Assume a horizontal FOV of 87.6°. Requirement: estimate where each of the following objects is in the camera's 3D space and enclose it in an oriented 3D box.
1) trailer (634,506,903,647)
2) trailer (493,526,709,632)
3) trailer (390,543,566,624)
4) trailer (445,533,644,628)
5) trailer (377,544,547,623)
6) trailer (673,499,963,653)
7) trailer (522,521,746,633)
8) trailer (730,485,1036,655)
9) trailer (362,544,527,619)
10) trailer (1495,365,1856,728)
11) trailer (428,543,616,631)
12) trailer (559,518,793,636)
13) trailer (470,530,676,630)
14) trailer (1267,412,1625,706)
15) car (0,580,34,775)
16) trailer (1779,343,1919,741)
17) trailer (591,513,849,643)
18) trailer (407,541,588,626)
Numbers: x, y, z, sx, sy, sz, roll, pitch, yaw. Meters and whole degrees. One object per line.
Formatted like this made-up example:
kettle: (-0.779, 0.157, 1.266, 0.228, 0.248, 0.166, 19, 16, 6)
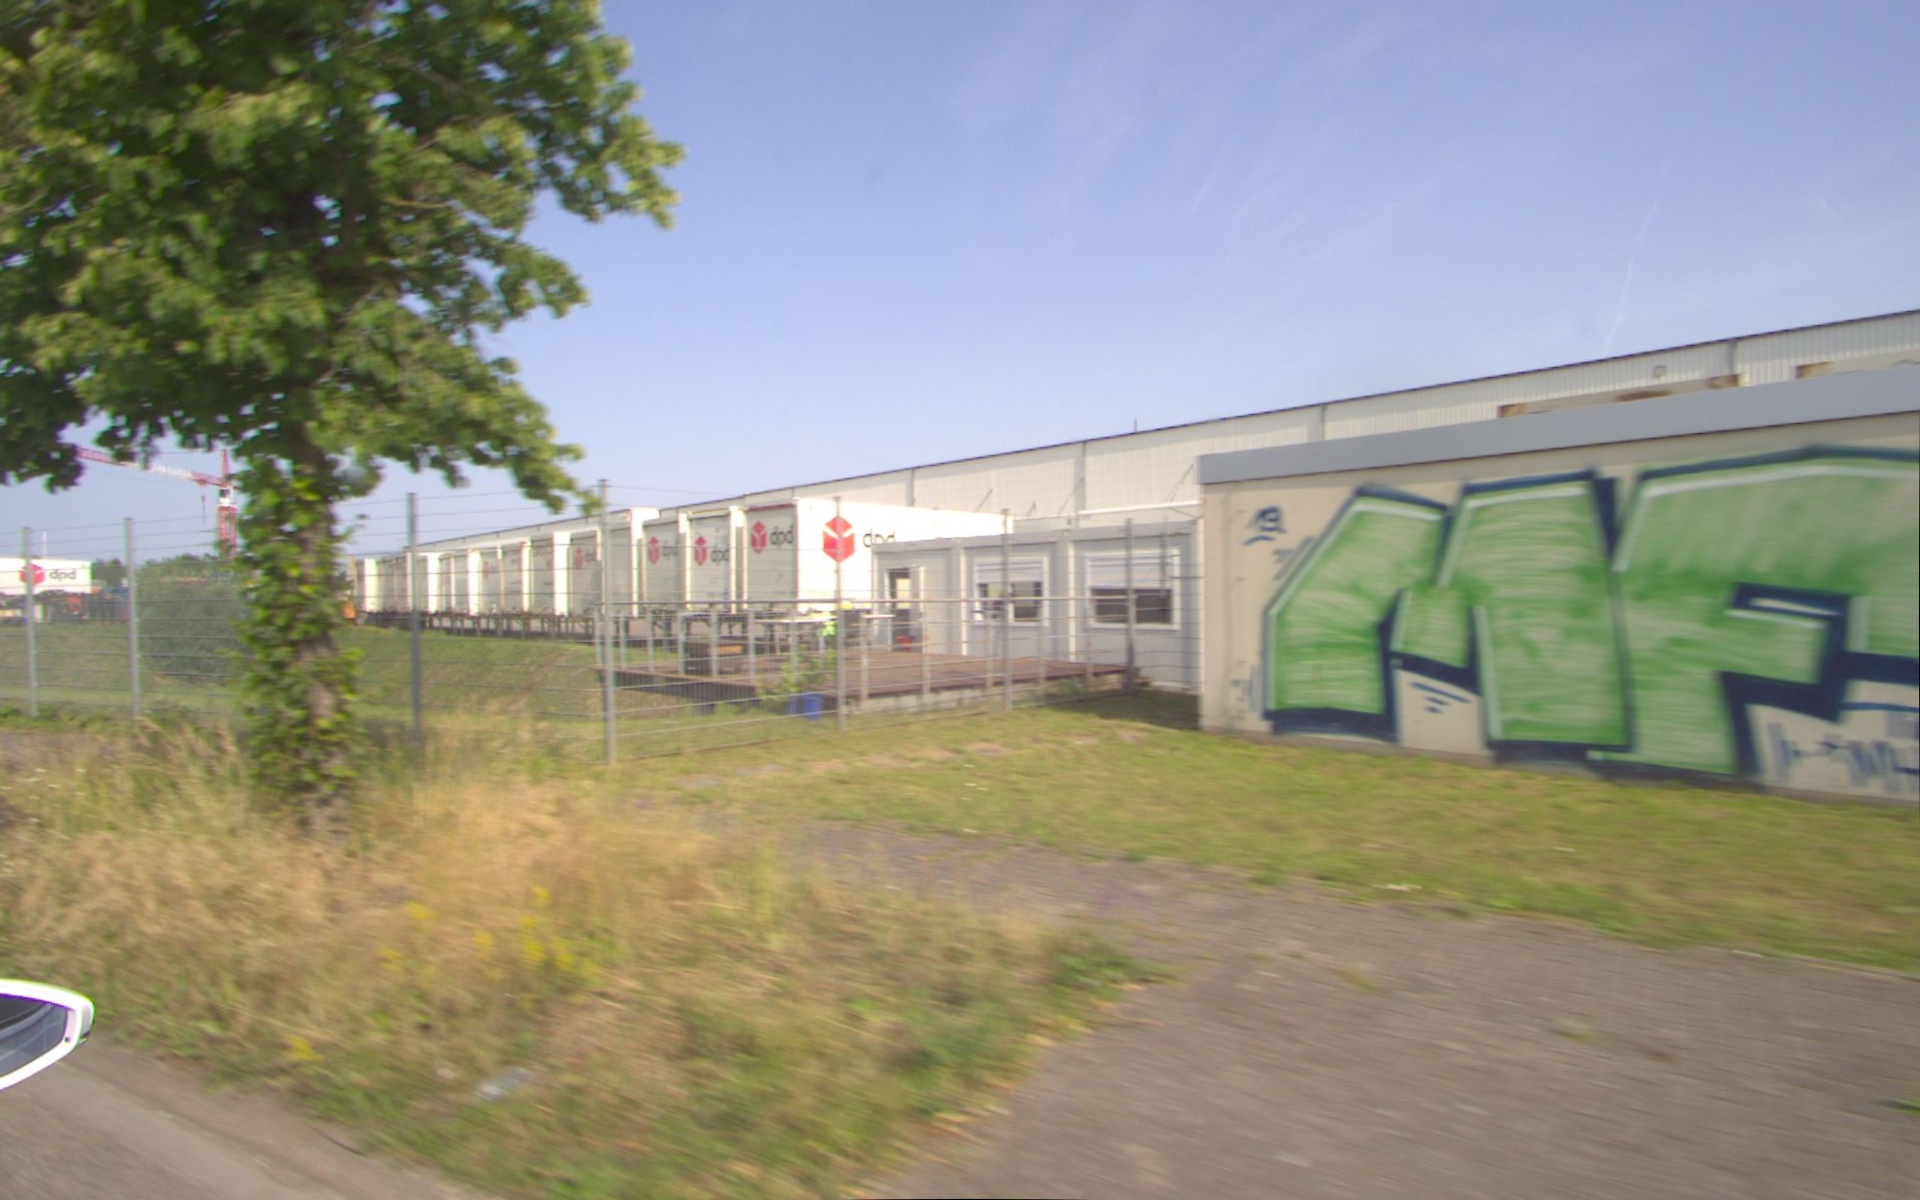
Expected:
trailer: (-5.841, -0.561, 31.872, 8.257, 3.945, 2.747, 2, 0, -45)
trailer: (-14.624, -0.718, 41.315, 7.915, 3.945, 2.747, 2, 0, -45)
trailer: (-25.412, -0.764, 53.068, 7.915, 3.945, 2.747, 2, 0, -45)
trailer: (-18.838, -0.750, 45.846, 7.915, 3.945, 2.747, 2, 0, -45)
trailer: (-27.329, -0.811, 55.223, 7.915, 3.945, 2.747, 2, 0, -45)
trailer: (-3.915, -0.530, 29.596, 8.485, 3.945, 2.747, 2, 0, -45)
trailer: (-12.539, -0.730, 39.173, 7.915, 3.945, 2.747, 2, 0, -45)
trailer: (-1.790, -0.602, 27.254, 8.485, 3.945, 2.747, 2, 0, -45)
trailer: (-29.351, -0.963, 57.310, 7.915, 3.945, 2.714, 2, 0, -45)
trailer: (10.921, -0.661, 14.827, 8.475, 3.946, 2.749, -2, 2, -43)
trailer: (-21.225, -0.520, 48.873, 7.915, 3.945, 2.747, 2, 0, -45)
trailer: (-10.333, -0.690, 37.203, 7.985, 3.945, 2.747, 2, 0, -45)
trailer: (-16.706, -0.726, 43.730, 7.915, 3.945, 2.747, 2, 0, -45)
trailer: (8.645, -0.503, 17.057, 8.676, 3.810, 2.763, 0, 0, -45)
car: (-10.383, 0.683, 8.811, 4.378, 1.648, 1.797, 0, 3, 27)
trailer: (12.875, -0.597, 12.573, 8.474, 3.944, 2.751, 0, -1, -42)
trailer: (-7.924, -0.573, 34.077, 8.257, 3.945, 2.747, 2, 0, -45)
trailer: (-23.403, -0.714, 51.031, 7.915, 3.945, 2.747, 2, 0, -45)
